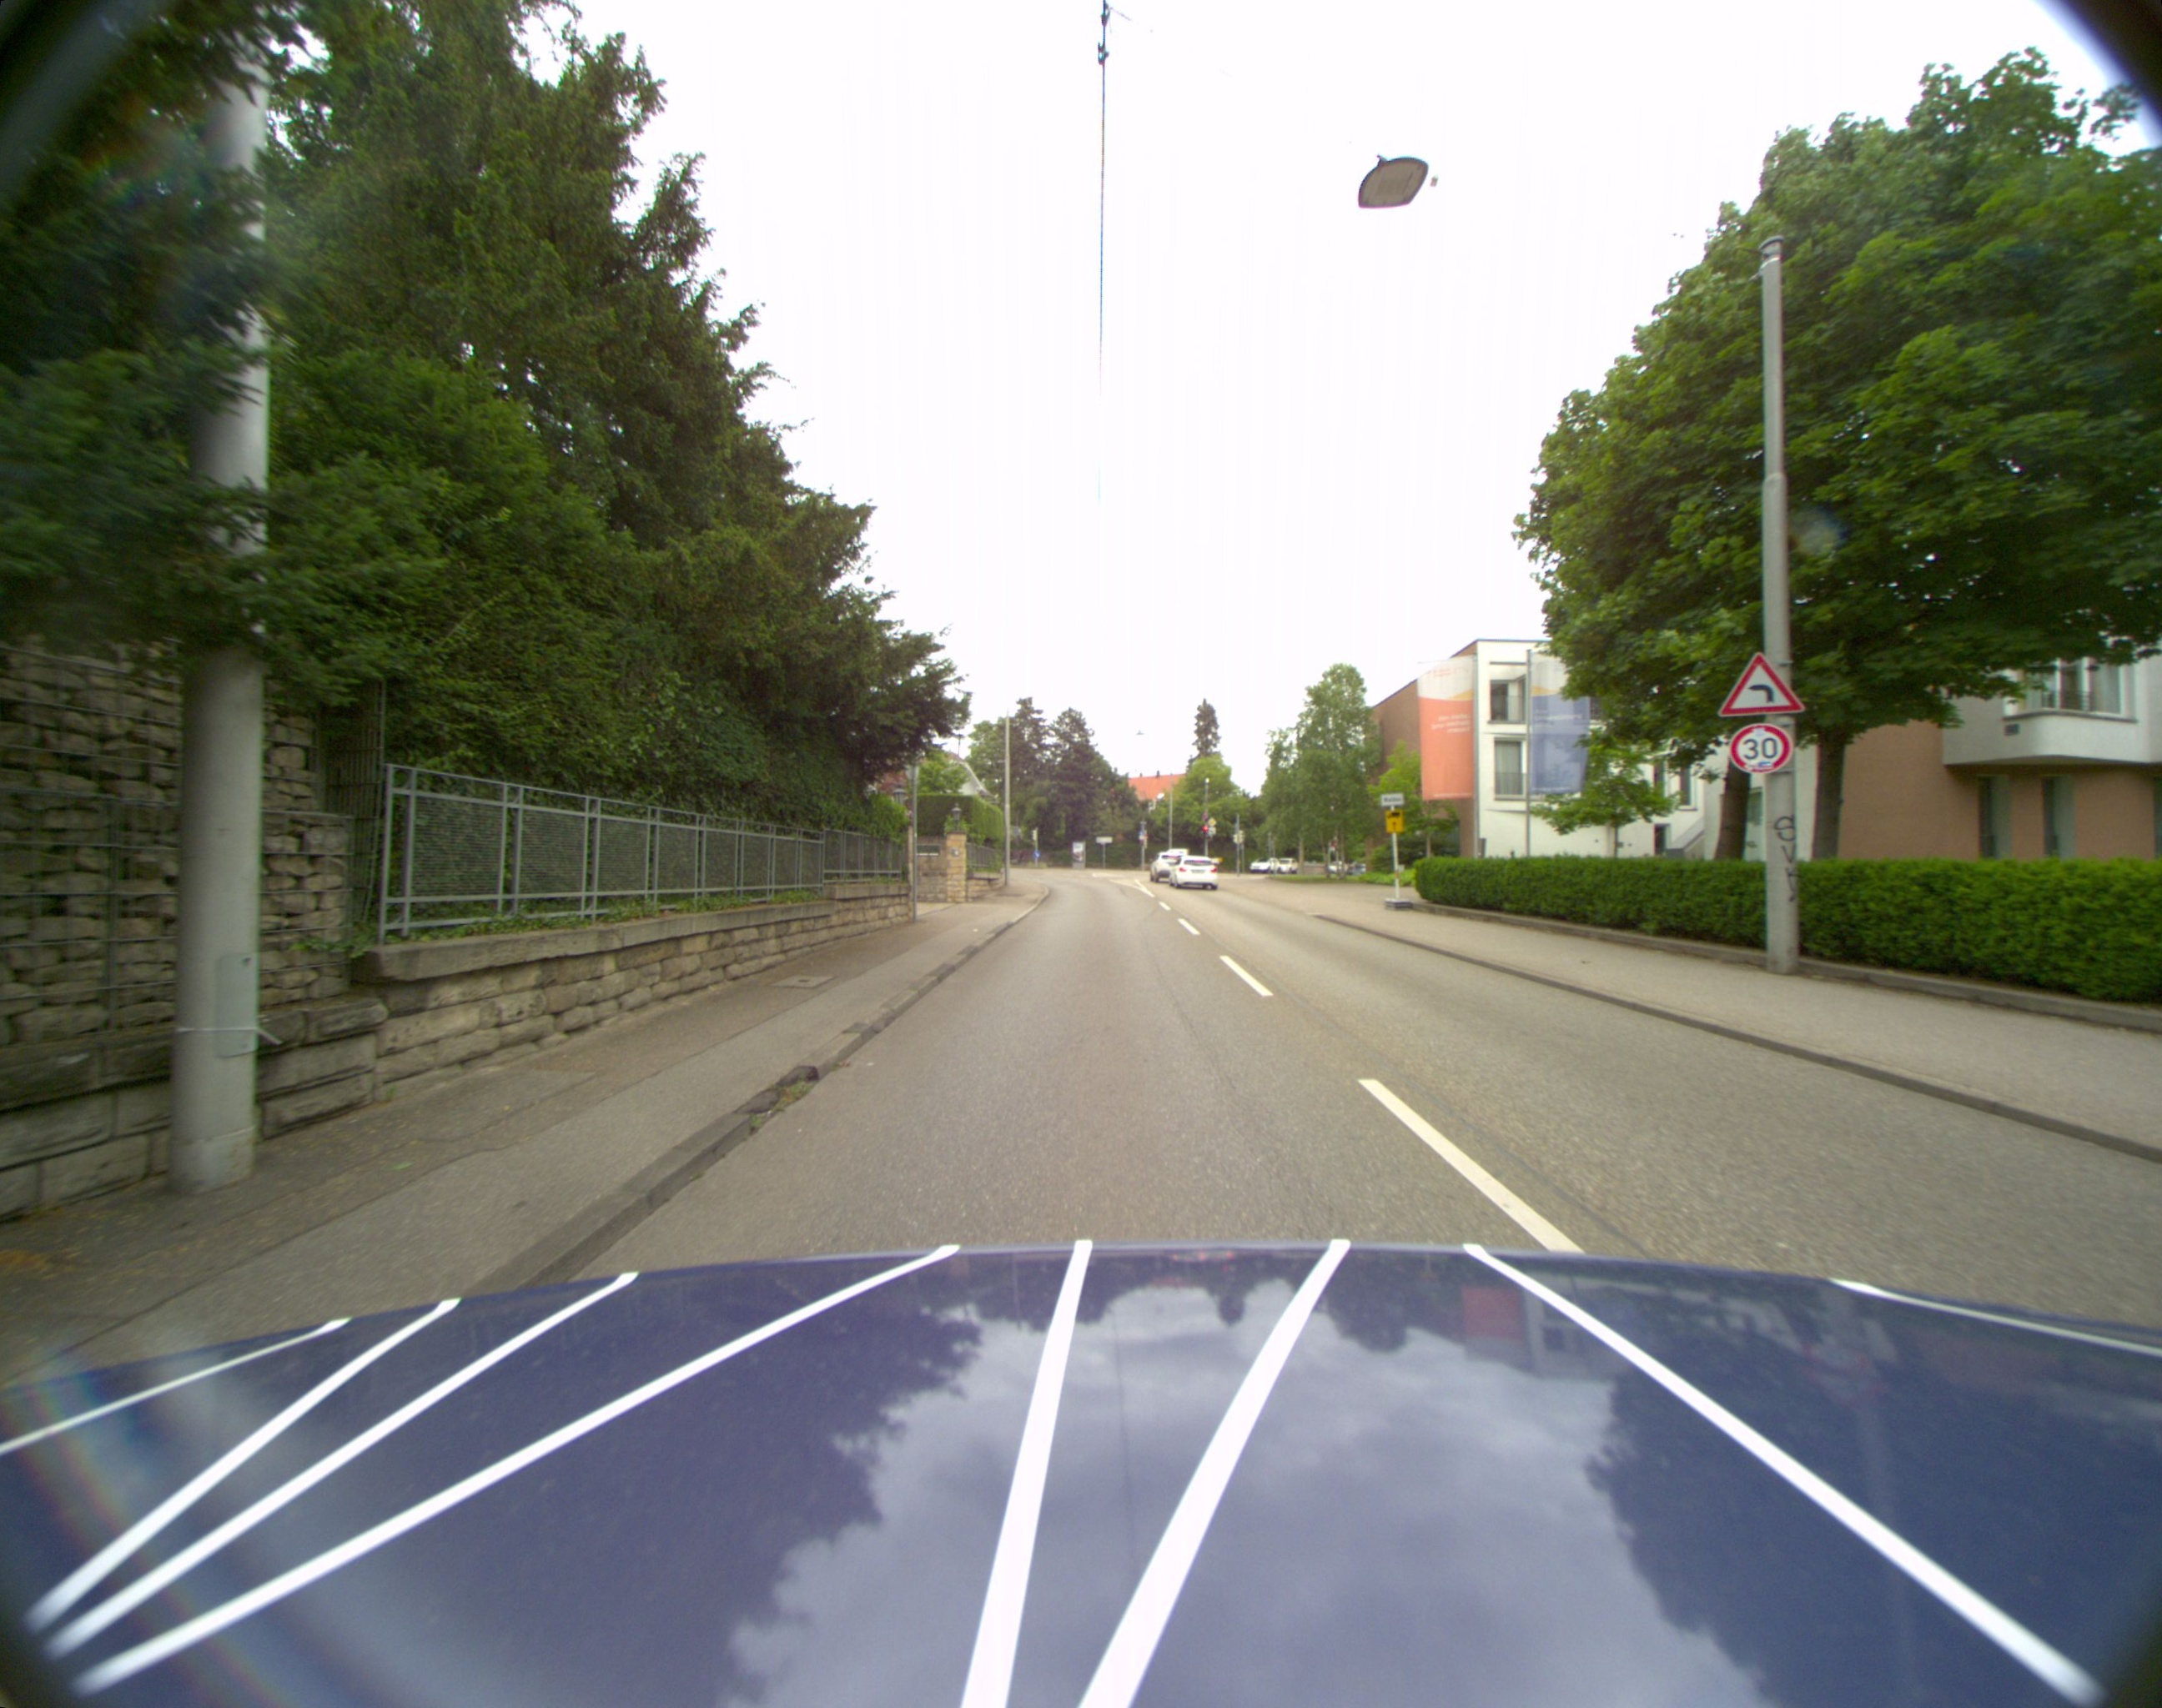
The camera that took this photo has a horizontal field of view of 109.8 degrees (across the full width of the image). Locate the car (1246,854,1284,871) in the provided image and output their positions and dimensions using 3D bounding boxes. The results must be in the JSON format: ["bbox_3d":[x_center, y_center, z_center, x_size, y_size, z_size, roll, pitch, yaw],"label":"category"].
[{"bbox_3d":[18.097,0.815,74.574,1.994,1.603,4.009,2,0,40],"label":"car"}]

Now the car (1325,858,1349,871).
[{"bbox_3d":[32.583,1.346,96.771,1.867,1.577,3.739,1,0,36],"label":"car"}]

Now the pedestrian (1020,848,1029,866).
[{"bbox_3d":[-5.780,0.337,77.841,0.665,1.777,0.614,2,0,28],"label":"pedestrian"}]

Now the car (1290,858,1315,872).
[{"bbox_3d":[24.553,1.201,84.092,1.867,1.445,3.738,0,0,30],"label":"car"}]

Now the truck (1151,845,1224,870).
[{"bbox_3d":[10.142,0.331,72.296,6.706,2.176,2.532,1,1,12],"label":"truck"}]

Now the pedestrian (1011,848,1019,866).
[{"bbox_3d":[-6.898,0.309,79.213,0.611,1.824,0.605,2,0,28],"label":"pedestrian"}]

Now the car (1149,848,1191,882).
[{"bbox_3d":[4.711,0.539,40.625,1.773,1.628,4.302,3,1,2],"label":"car"}]

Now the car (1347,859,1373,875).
[{"bbox_3d":[26.572,1.254,72.239,1.876,1.440,4.008,1,0,27],"label":"car"}]

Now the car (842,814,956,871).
[{"bbox_3d":[-6.934,-0.444,29.266,3.749,1.603,1.814,9,1,0],"label":"car"}]

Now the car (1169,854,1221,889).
[{"bbox_3d":[5.017,0.730,33.980,1.770,1.413,4.065,2,1,1],"label":"car"}]

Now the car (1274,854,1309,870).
[{"bbox_3d":[21.819,0.867,78.796,1.994,1.603,4.009,2,0,40],"label":"car"}]
